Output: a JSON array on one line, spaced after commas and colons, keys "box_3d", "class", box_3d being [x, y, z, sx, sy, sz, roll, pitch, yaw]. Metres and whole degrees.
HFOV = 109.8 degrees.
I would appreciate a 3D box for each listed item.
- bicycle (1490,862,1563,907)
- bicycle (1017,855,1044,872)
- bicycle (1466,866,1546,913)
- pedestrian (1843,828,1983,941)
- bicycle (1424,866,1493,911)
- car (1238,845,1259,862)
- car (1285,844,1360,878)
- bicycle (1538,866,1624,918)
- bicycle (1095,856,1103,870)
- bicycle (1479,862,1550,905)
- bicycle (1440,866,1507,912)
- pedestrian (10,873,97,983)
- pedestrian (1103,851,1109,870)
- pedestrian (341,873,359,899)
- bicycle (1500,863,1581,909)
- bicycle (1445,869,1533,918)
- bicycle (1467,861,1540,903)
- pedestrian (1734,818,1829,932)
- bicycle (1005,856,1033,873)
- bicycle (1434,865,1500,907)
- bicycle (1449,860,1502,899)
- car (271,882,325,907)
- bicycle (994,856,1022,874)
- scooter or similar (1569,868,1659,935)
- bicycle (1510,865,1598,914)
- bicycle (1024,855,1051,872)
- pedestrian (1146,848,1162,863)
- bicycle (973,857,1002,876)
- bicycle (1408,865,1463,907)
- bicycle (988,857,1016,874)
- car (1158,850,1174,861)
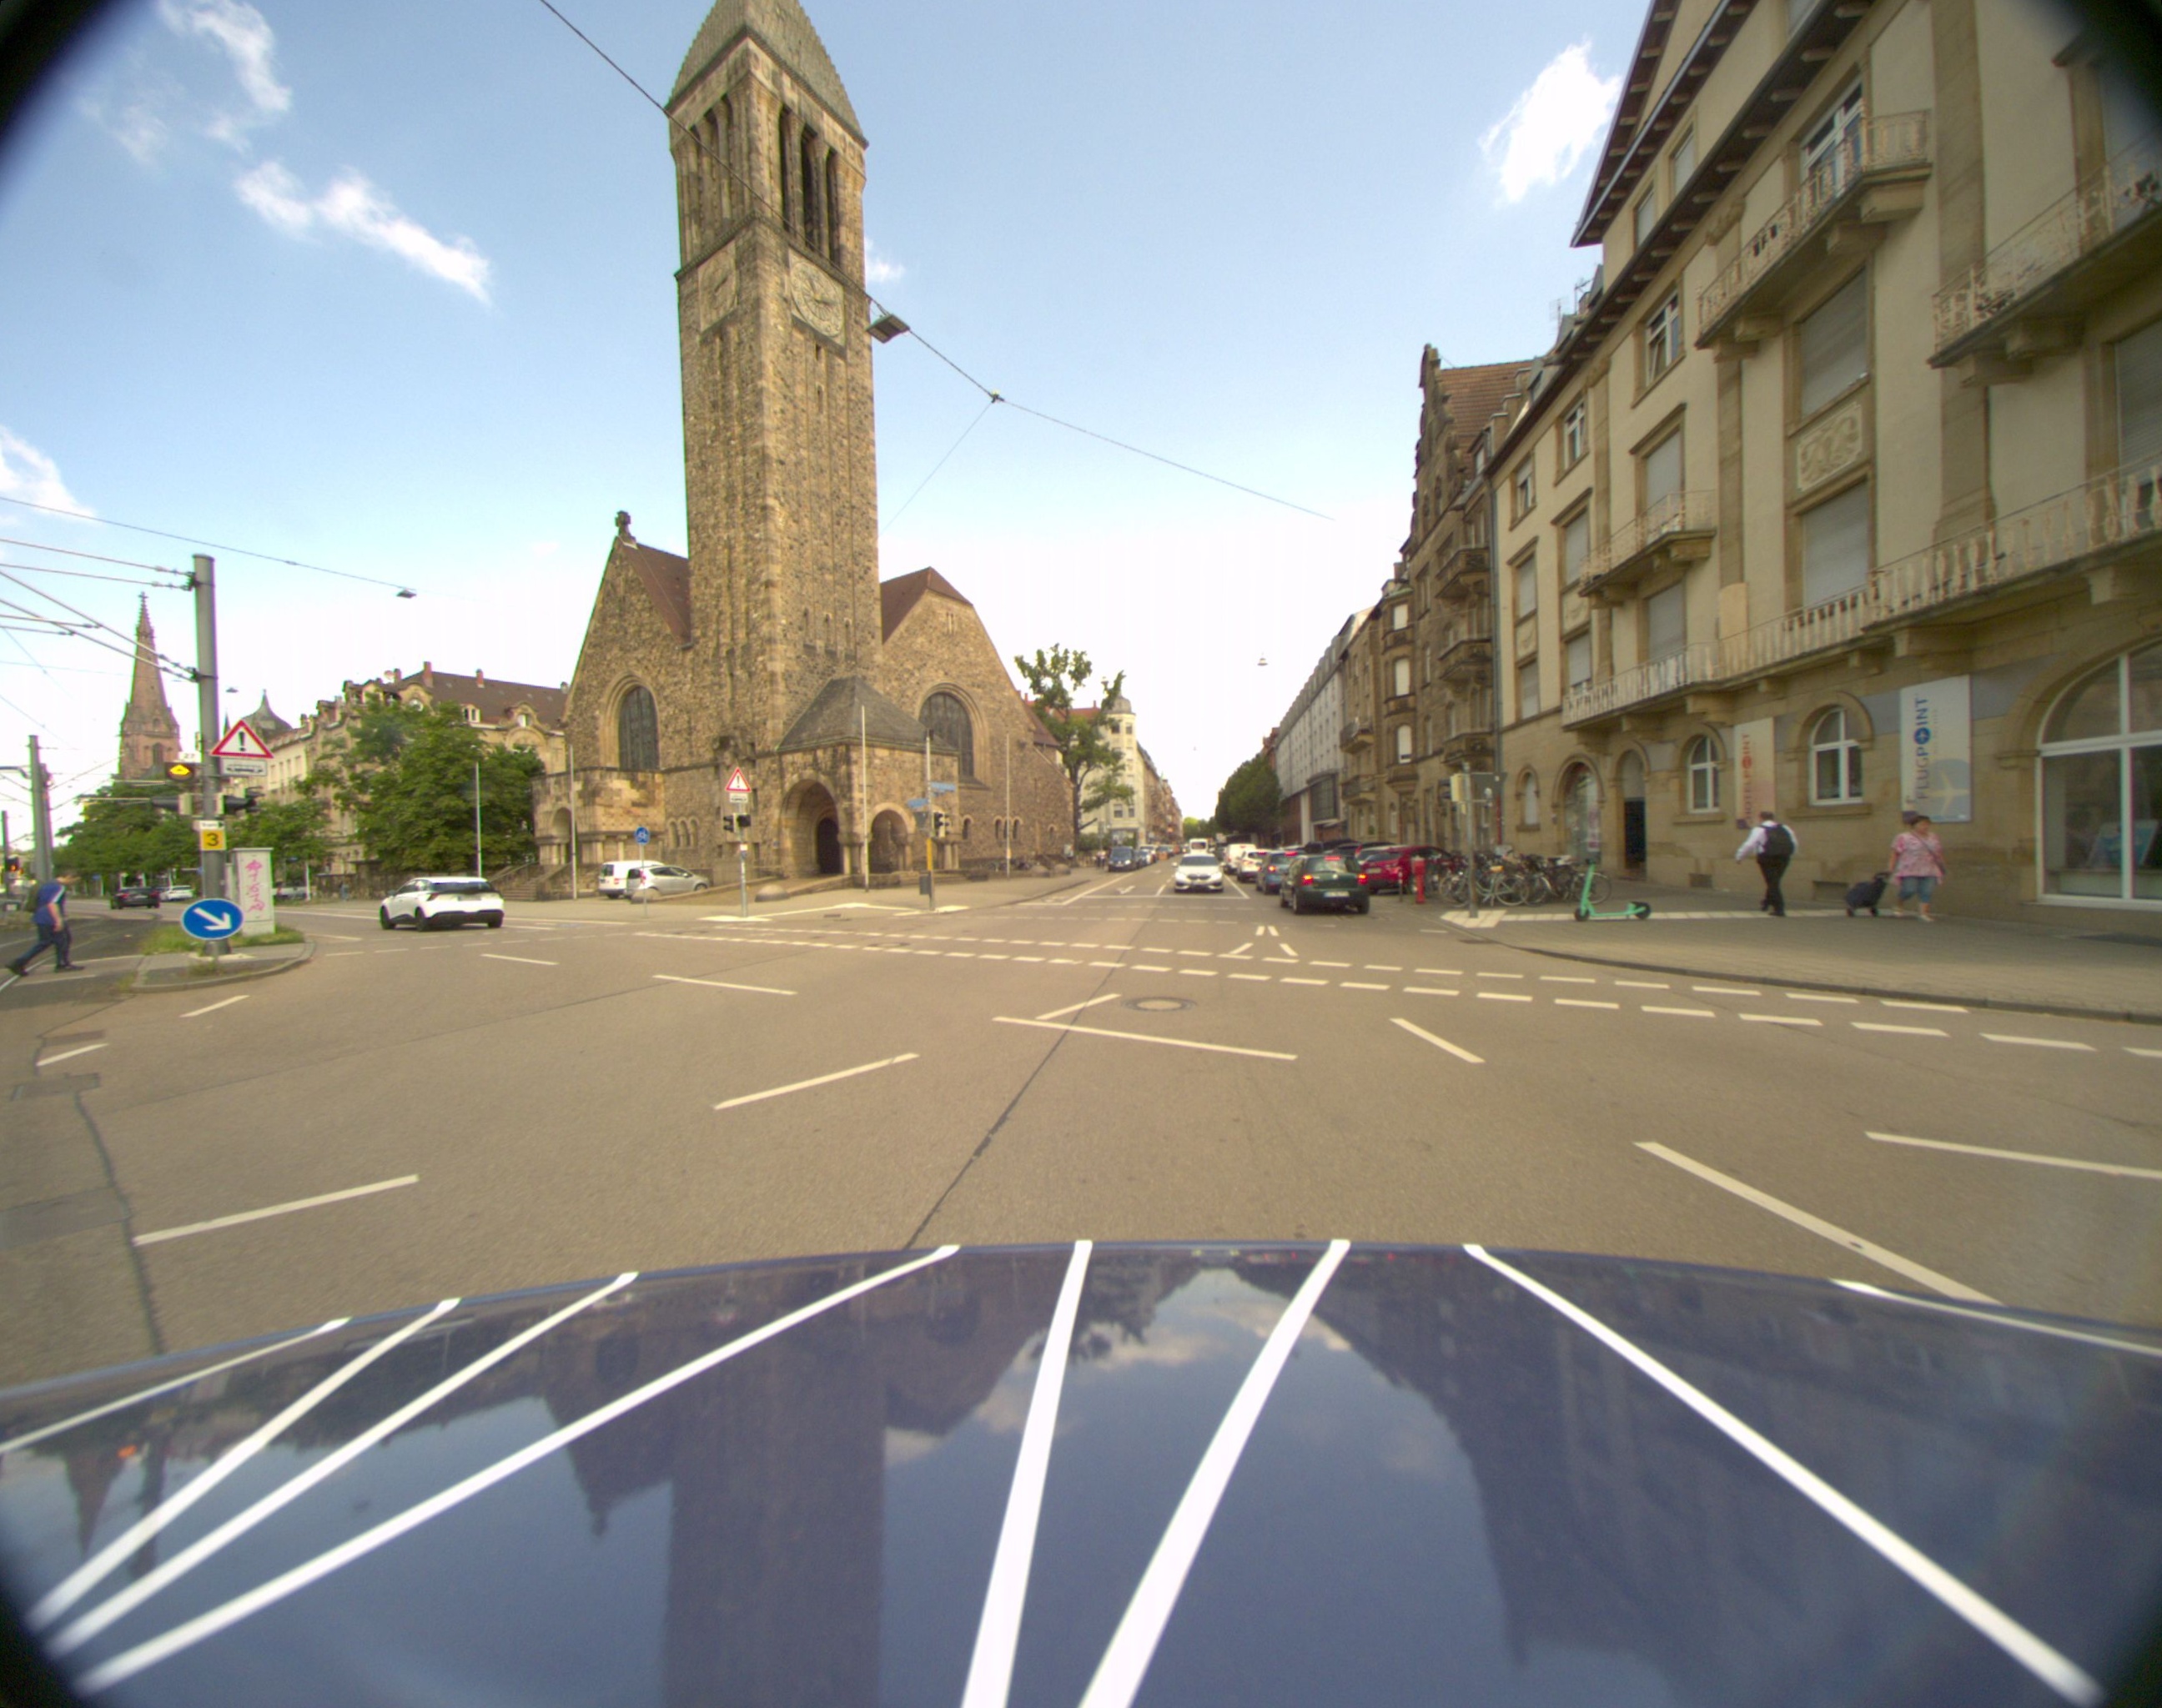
[{"box_3d": [11.276, 0.772, 19.254, 1.482, 1.046, 0.463, -3, 0, 10], "class": "bicycle"}, {"box_3d": [-3.601, 0.682, 54.376, 1.934, 1.106, 0.588, 2, 3, 30], "class": "bicycle"}, {"box_3d": [10.165, 0.855, 18.218, 1.579, 1.046, 0.481, -3, 0, 17], "class": "bicycle"}, {"box_3d": [12.632, 0.447, 11.586, 0.943, 1.585, 0.996, -5, 0, 10], "class": "pedestrian"}, {"box_3d": [9.700, 0.887, 19.546, 1.482, 1.046, 0.463, -3, 0, 10], "class": "bicycle"}, {"box_3d": [16.851, -0.060, 76.720, 1.890, 1.556, 3.893, -1, 0, 10], "class": "car"}, {"box_3d": [13.603, 0.401, 42.745, 3.959, 1.576, 1.727, -5, 1, -30], "class": "car"}, {"box_3d": [10.777, 0.827, 16.414, 1.440, 1.046, 0.481, -3, 0, 19], "class": "bicycle"}, {"box_3d": [1.397, 0.722, 58.520, 0.480, 1.046, 1.443, -1, 0, 4], "class": "bicycle"}, {"box_3d": [11.283, 0.766, 19.803, 1.482, 1.046, 0.462, -3, 0, 6], "class": "bicycle"}, {"box_3d": [9.831, 0.882, 19.049, 1.371, 1.046, 0.418, -4, 0, 7], "class": "bicycle"}, {"box_3d": [-17.031, 1.197, 12.596, 0.742, 1.721, 0.774, -1, 1, 33], "class": "pedestrian"}, {"box_3d": [1.918, 0.492, 58.469, 0.466, 1.447, 0.556, -1, 1, 4], "class": "pedestrian"}, {"box_3d": [-47.517, 2.091, 49.396, 0.843, 1.655, 0.660, -1, 1, 36], "class": "pedestrian"}, {"box_3d": [11.171, 0.779, 18.504, 1.579, 1.046, 0.481, -3, 0, 17], "class": "bicycle"}, {"box_3d": [9.432, 0.918, 17.617, 1.732, 1.046, 0.532, -3, 0, 25], "class": "bicycle"}, {"box_3d": [11.636, 0.778, 20.945, 1.630, 1.046, 0.558, -3, 0, 8], "class": "bicycle"}, {"box_3d": [11.873, 0.332, 12.920, 0.804, 1.850, 0.905, -2, 4, 9], "class": "pedestrian"}, {"box_3d": [-4.360, 0.723, 53.014, 1.934, 1.106, 0.588, 2, 3, 30], "class": "bicycle"}, {"box_3d": [10.404, 0.860, 20.501, 1.482, 1.046, 0.462, -3, 0, 6], "class": "bicycle"}, {"box_3d": [11.875, 0.761, 22.849, 1.908, 1.046, 0.556, -3, 0, -35], "class": "bicycle"}, {"box_3d": [-51.346, 2.617, 49.806, 3.827, 1.487, 1.793, -2, 1, 34], "class": "car"}, {"box_3d": [-5.007, 0.751, 52.241, 1.934, 1.106, 0.588, 2, 3, 30], "class": "bicycle"}, {"box_3d": [9.710, 0.871, 13.878, 1.250, 1.139, 0.482, -3, 1, 27], "class": "scooter or similar"}, {"box_3d": [10.892, 0.821, 17.535, 1.611, 1.046, 0.481, -3, 0, 17], "class": "bicycle"}, {"box_3d": [-3.149, 0.661, 55.044, 1.934, 1.106, 0.588, 2, 3, 30], "class": "bicycle"}, {"box_3d": [8.824, 0.160, 91.805, 1.316, 1.747, 1.370, -2, 1, -34], "class": "pedestrian"}, {"box_3d": [-6.173, 0.811, 50.262, 1.934, 1.106, 0.588, 2, 3, 30], "class": "bicycle"}, {"box_3d": [10.028, 0.894, 21.483, 1.815, 1.046, 0.556, -3, 0, -36], "class": "bicycle"}, {"box_3d": [-5.386, 0.770, 51.631, 1.934, 1.106, 0.588, 2, 3, 30], "class": "bicycle"}, {"box_3d": [11.645, 0.200, 104.194, 1.808, 1.360, 4.189, -1, 0, 10], "class": "car"}]
